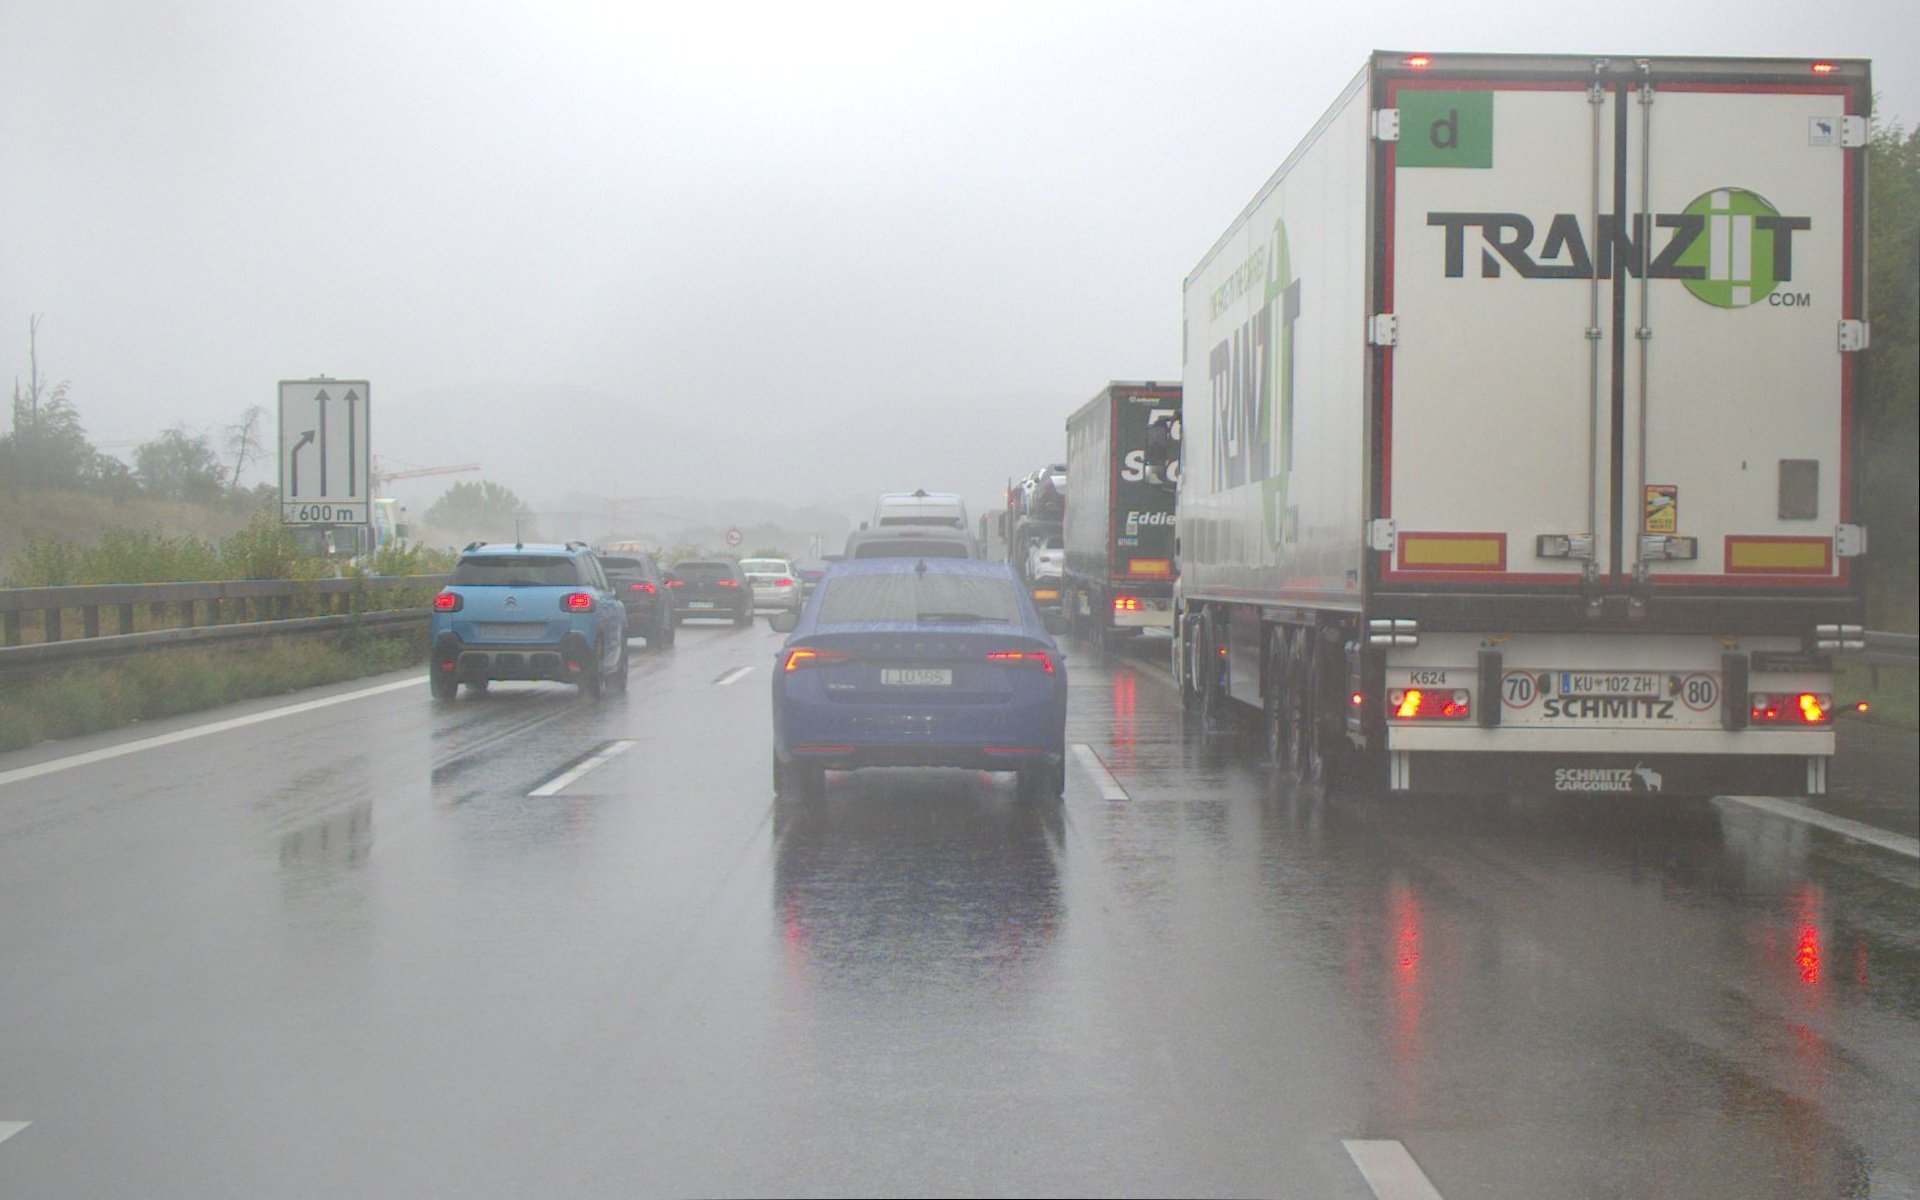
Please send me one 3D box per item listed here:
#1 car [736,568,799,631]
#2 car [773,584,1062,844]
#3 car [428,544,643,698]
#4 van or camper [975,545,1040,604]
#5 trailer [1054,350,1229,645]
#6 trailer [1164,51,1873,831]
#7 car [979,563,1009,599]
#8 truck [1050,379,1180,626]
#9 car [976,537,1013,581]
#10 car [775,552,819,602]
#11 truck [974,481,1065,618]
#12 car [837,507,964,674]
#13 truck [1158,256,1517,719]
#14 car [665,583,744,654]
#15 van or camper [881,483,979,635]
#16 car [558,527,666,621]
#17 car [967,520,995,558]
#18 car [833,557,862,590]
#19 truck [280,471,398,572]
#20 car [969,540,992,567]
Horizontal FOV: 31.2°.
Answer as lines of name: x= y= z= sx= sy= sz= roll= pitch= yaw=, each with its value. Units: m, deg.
car: x=-4.868 y=-0.029 z=87.081 sx=1.439 sy=1.528 sz=3.322 roll=0 pitch=1 yaw=0
car: x=-0.232 y=0.637 z=21.524 sx=1.635 sy=1.440 sz=4.000 roll=0 pitch=1 yaw=0
car: x=-4.369 y=0.179 z=35.900 sx=1.722 sy=1.518 sz=4.000 roll=0 pitch=1 yaw=1
van or camper: x=1.356 y=-0.764 z=99.685 sx=1.771 sy=1.619 sz=4.484 roll=0 pitch=1 yaw=-1
trailer: x=2.723 y=-1.559 z=54.267 sx=2.047 sy=4.162 sz=11.449 roll=0 pitch=1 yaw=0
trailer: x=3.300 y=-0.951 z=24.972 sx=2.630 sy=3.999 sz=14.630 roll=0 pitch=1 yaw=0
car: x=1.508 y=-0.861 z=152.226 sx=1.248 sy=1.507 sz=3.108 roll=-1 pitch=2 yaw=-1
truck: x=2.670 y=-1.684 z=60.199 sx=2.047 sy=4.178 sz=4.000 roll=0 pitch=1 yaw=0
car: x=1.407 y=-1.675 z=140.567 sx=1.448 sy=1.777 sz=3.409 roll=1 pitch=1 yaw=0
car: x=-5.839 y=-0.825 z=123.275 sx=1.448 sy=1.777 sz=3.409 roll=1 pitch=1 yaw=0
truck: x=1.498 y=-1.359 z=89.974 sx=1.993 sy=3.410 sz=8.033 roll=0 pitch=1 yaw=-2
car: x=-0.647 y=-0.133 z=38.159 sx=1.336 sy=1.774 sz=3.322 roll=0 pitch=1 yaw=0
truck: x=3.256 y=-0.974 z=30.784 sx=2.630 sy=3.814 sz=4.791 roll=0 pitch=1 yaw=0
car: x=-5.361 y=0.372 z=72.442 sx=1.439 sy=1.415 sz=3.322 roll=0 pitch=1 yaw=0
van or camper: x=-0.576 y=-0.802 z=65.712 sx=1.797 sy=2.797 sz=4.768 roll=0 pitch=1 yaw=0
car: x=-5.434 y=-0.426 z=53.932 sx=1.359 sy=1.426 sz=3.364 roll=0 pitch=1 yaw=0
car: x=1.048 y=-3.092 z=174.950 sx=1.335 sy=1.883 sz=3.040 roll=-1 pitch=1 yaw=-1
car: x=-6.125 y=-1.447 z=187.680 sx=1.448 sy=1.777 sz=3.409 roll=1 pitch=1 yaw=0
truck: x=-17.868 y=-2.239 z=99.158 sx=2.481 sy=2.710 sz=4.527 roll=-2 pitch=0 yaw=1
car: x=1.350 y=-3.086 z=229.240 sx=1.448 sy=1.777 sz=3.409 roll=1 pitch=1 yaw=0
